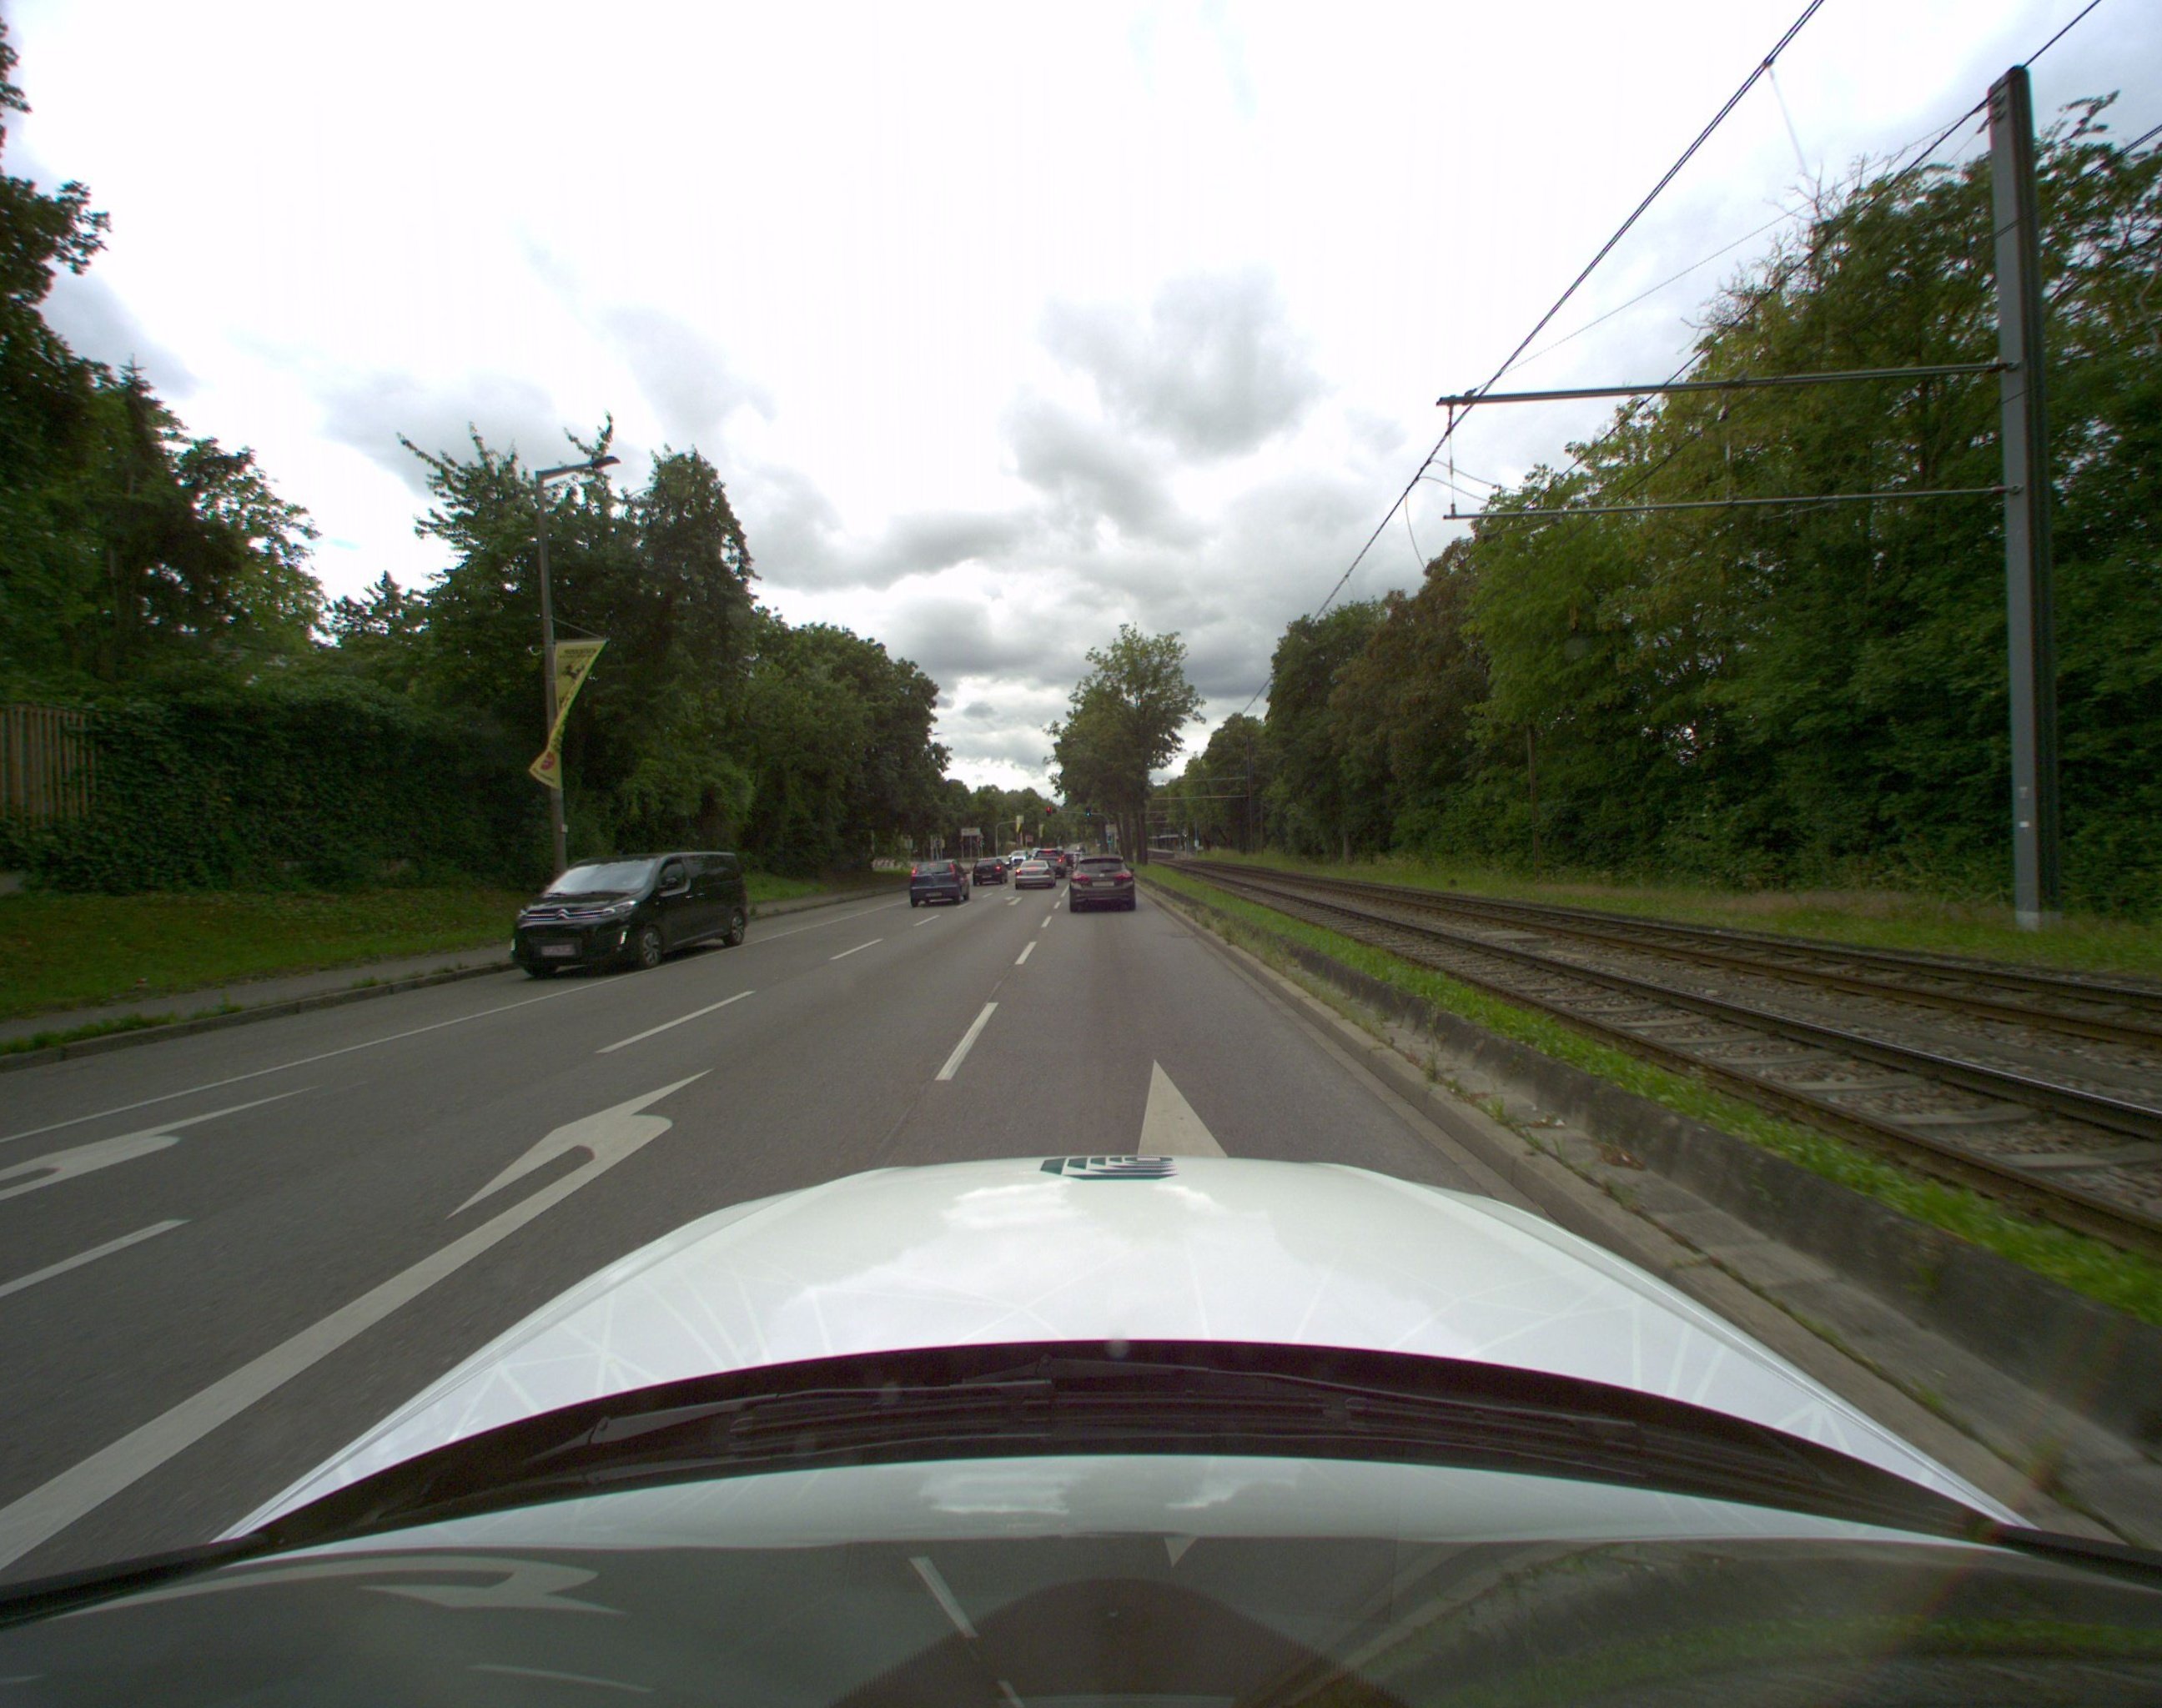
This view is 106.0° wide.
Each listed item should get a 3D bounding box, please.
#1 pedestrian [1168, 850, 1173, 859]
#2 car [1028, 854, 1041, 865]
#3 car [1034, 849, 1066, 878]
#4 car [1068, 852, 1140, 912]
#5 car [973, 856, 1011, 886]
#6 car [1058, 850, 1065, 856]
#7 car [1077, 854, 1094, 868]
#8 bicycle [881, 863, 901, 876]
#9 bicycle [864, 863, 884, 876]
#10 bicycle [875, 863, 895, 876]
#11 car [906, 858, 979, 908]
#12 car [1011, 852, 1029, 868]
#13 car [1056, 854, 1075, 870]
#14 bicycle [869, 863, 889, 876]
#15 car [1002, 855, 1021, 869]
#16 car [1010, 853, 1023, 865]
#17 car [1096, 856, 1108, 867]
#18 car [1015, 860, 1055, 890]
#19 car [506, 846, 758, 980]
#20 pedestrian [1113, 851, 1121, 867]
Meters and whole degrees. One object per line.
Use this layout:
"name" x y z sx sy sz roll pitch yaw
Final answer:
"pedestrian" 15.400 0.054 140.097 0.715 1.511 0.724 0 -1 3
"car" -7.117 0.855 125.445 1.734 1.539 3.909 -1 0 0
"car" -1.945 0.599 51.756 1.797 1.795 4.503 -1 -1 1
"car" 0.665 0.725 23.078 1.830 1.528 3.931 -1 0 2
"car" -4.874 0.920 45.050 1.551 1.466 3.807 -4 0 0
"car" -5.726 -0.150 234.290 1.897 1.678 5.077 -2 0 -2
"car" 0.497 0.799 89.736 1.703 1.475 3.673 -1 0 2
"bicycle" -17.437 1.416 74.807 0.539 1.252 1.947 -1 -1 38
"bicycle" -19.345 1.436 76.084 0.539 1.252 1.947 -1 -1 38
"bicycle" -18.070 1.421 75.100 0.539 1.252 1.948 -1 0 38
"car" -4.623 0.925 27.722 1.585 1.468 3.931 -3 0 2
"car" -7.498 0.710 99.793 1.786 1.831 4.408 -3 0 0
"car" -1.460 0.757 78.567 1.698 1.480 3.667 -2 0 0
"bicycle" -18.677 1.426 75.378 0.539 1.252 1.947 -1 -1 38
"car" -7.384 0.856 86.404 1.625 1.395 3.832 -1 0 0
"car" -9.894 0.773 124.361 1.940 1.811 4.437 -1 0 -4
"car" 2.844 0.983 111.542 1.498 1.528 3.670 -1 0 -1
"car" -2.099 0.946 37.726 1.549 1.267 3.822 -2 -1 1
"car" -7.648 0.890 14.525 1.798 1.904 4.688 -3 0 0
"pedestrian" 3.944 0.516 89.151 0.748 1.737 0.841 -4 -1 5
